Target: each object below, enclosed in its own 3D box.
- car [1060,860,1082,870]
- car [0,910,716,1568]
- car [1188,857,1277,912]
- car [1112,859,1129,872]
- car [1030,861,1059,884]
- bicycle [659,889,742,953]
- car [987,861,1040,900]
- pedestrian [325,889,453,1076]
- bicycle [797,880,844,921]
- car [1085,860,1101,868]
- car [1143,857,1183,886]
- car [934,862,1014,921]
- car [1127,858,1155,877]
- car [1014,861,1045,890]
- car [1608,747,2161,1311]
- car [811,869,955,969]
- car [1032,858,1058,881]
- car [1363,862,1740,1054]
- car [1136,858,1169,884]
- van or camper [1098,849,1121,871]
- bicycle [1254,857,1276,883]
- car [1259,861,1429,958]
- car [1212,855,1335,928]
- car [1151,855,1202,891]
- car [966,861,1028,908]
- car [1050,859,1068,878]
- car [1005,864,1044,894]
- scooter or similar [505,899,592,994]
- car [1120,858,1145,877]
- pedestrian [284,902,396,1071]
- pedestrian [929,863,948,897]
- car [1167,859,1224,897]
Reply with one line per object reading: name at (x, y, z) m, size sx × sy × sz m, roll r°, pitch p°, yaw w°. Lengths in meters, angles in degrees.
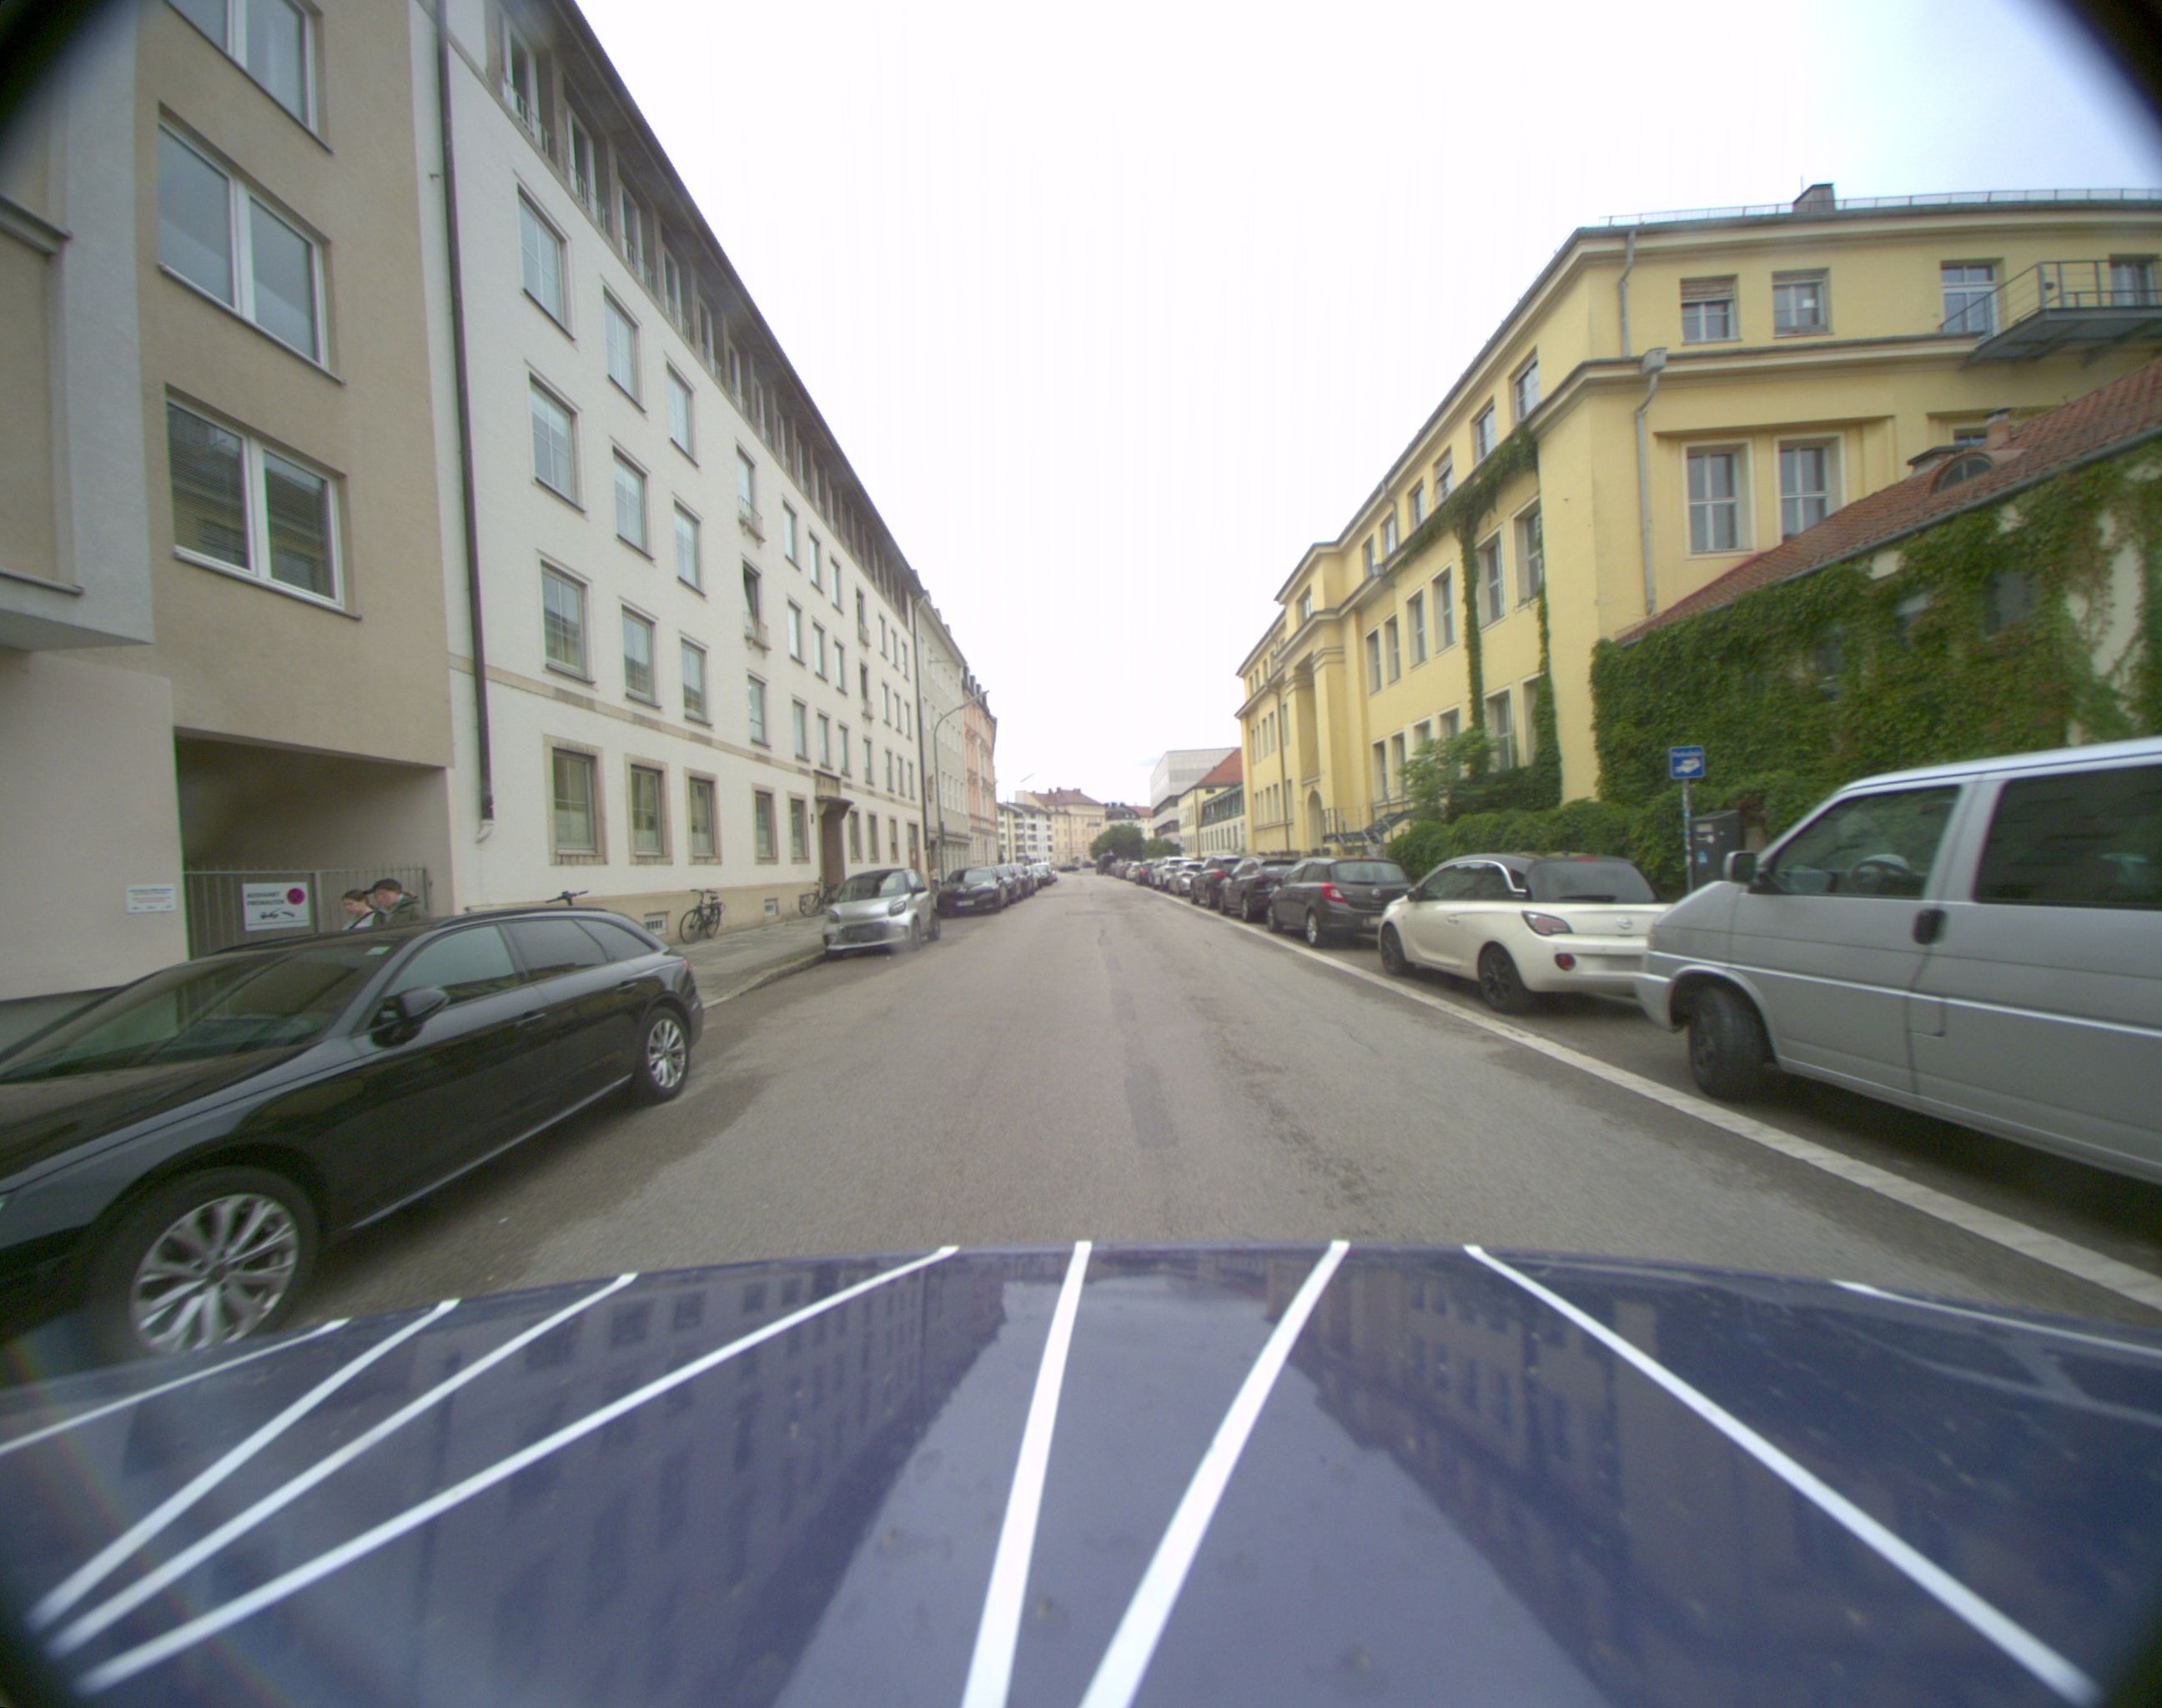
car at (-2.038, 2.209, 156.927) m, size 4.248 × 1.849 × 1.999 m, roll -2°, pitch 0°, yaw -5°
car at (-3.773, 1.227, 3.660) m, size 1.801 × 1.412 × 4.482 m, roll -6°, pitch 0°, yaw -1°
car at (4.534, 0.867, 23.323) m, size 1.786 × 1.529 × 4.194 m, roll 1°, pitch 0°, yaw -2°
car at (4.667, 1.335, 90.701) m, size 1.700 × 1.552 × 3.867 m, roll 0°, pitch 0°, yaw -2°
car at (-2.581, 1.317, 54.980) m, size 1.696 × 1.442 × 4.083 m, roll -2°, pitch 0°, yaw 2°
bicycle at (-7.892, 1.360, 15.876) m, size 0.660 × 1.156 × 2.028 m, roll -2°, pitch 0°, yaw 1°
car at (-3.058, 1.167, 35.179) m, size 1.783 × 1.575 × 4.330 m, roll -5°, pitch 0°, yaw 2°
pedestrian at (-6.464, 1.171, 7.129) m, size 0.598 × 1.644 × 0.630 m, roll -1°, pitch 0°, yaw 0°
bicycle at (-7.877, 1.387, 23.083) m, size 0.660 × 1.120 × 2.028 m, roll -2°, pitch 0°, yaw 1°
car at (3.155, 2.507, 193.205) m, size 3.997 × 1.849 × 2.000 m, roll -2°, pitch 0°, yaw 1°
car at (4.520, 0.938, 42.244) m, size 1.684 × 1.496 × 3.973 m, roll 0°, pitch 0°, yaw -2°
car at (-3.360, 1.123, 24.724) m, size 1.861 × 1.535 × 4.815 m, roll -5°, pitch 0°, yaw -1°
car at (4.679, 1.055, 59.664) m, size 1.679 × 1.389 × 3.996 m, roll 0°, pitch 0°, yaw -2°
car at (-3.243, 1.320, 48.381) m, size 1.697 × 1.574 × 4.082 m, roll -5°, pitch 0°, yaw -2°
car at (4.554, 0.546, 2.765) m, size 1.998 × 1.864 × 4.758 m, roll -2°, pitch 0°, yaw 1°
car at (-3.753, 1.174, 15.127) m, size 1.676 × 1.525 × 3.881 m, roll -6°, pitch 0°, yaw 1°
car at (-3.081, 1.353, 66.470) m, size 1.845 × 1.775 × 4.895 m, roll -5°, pitch 0°, yaw 0°
car at (4.443, 0.849, 7.921) m, size 1.582 × 1.484 × 3.730 m, roll 0°, pitch 0°, yaw -1°
car at (4.364, 1.028, 46.947) m, size 1.684 × 1.487 × 3.985 m, roll 0°, pitch 0°, yaw 0°
van or camper at (3.743, 0.871, 101.509) m, size 2.142 × 2.791 × 5.569 m, roll -2°, pitch 0°, yaw -7°
bicycle at (8.737, 0.749, 36.185) m, size 0.578 × 1.182 × 1.562 m, roll -5°, pitch 0°, yaw 1°
car at (4.403, 0.849, 13.341) m, size 1.582 × 1.447 × 3.904 m, roll 0°, pitch 0°, yaw -1°
car at (4.444, 0.817, 18.168) m, size 1.786 × 1.529 × 4.148 m, roll 0°, pitch 0°, yaw -2°
car at (4.572, 0.898, 36.941) m, size 1.684 × 1.624 × 4.356 m, roll 1°, pitch 0°, yaw -3°
car at (-3.248, 1.148, 30.225) m, size 1.783 × 1.575 × 4.272 m, roll -5°, pitch 0°, yaw 1°
car at (-2.063, 1.358, 71.257) m, size 1.608 × 1.632 × 3.631 m, roll -2°, pitch 0°, yaw -1°
car at (-3.120, 1.360, 42.721) m, size 1.696 × 1.455 × 4.083 m, roll -5°, pitch 0°, yaw 1°
scooter or similar at (-8.024, 1.362, 11.493) m, size 0.601 × 1.245 × 1.037 m, roll -2°, pitch 3°, yaw -8°
car at (4.404, 1.155, 65.338) m, size 1.679 × 1.557 × 3.996 m, roll 0°, pitch 0°, yaw -2°
pedestrian at (-7.307, 1.283, 7.517) m, size 0.532 × 1.575 × 0.560 m, roll -1°, pitch 0°, yaw 0°
pedestrian at (-7.065, 1.286, 37.647) m, size 0.736 × 1.616 × 0.828 m, roll -1°, pitch 0°, yaw 1°
car at (4.680, 0.946, 31.541) m, size 1.684 × 1.417 × 3.894 m, roll 1°, pitch 0°, yaw -1°
